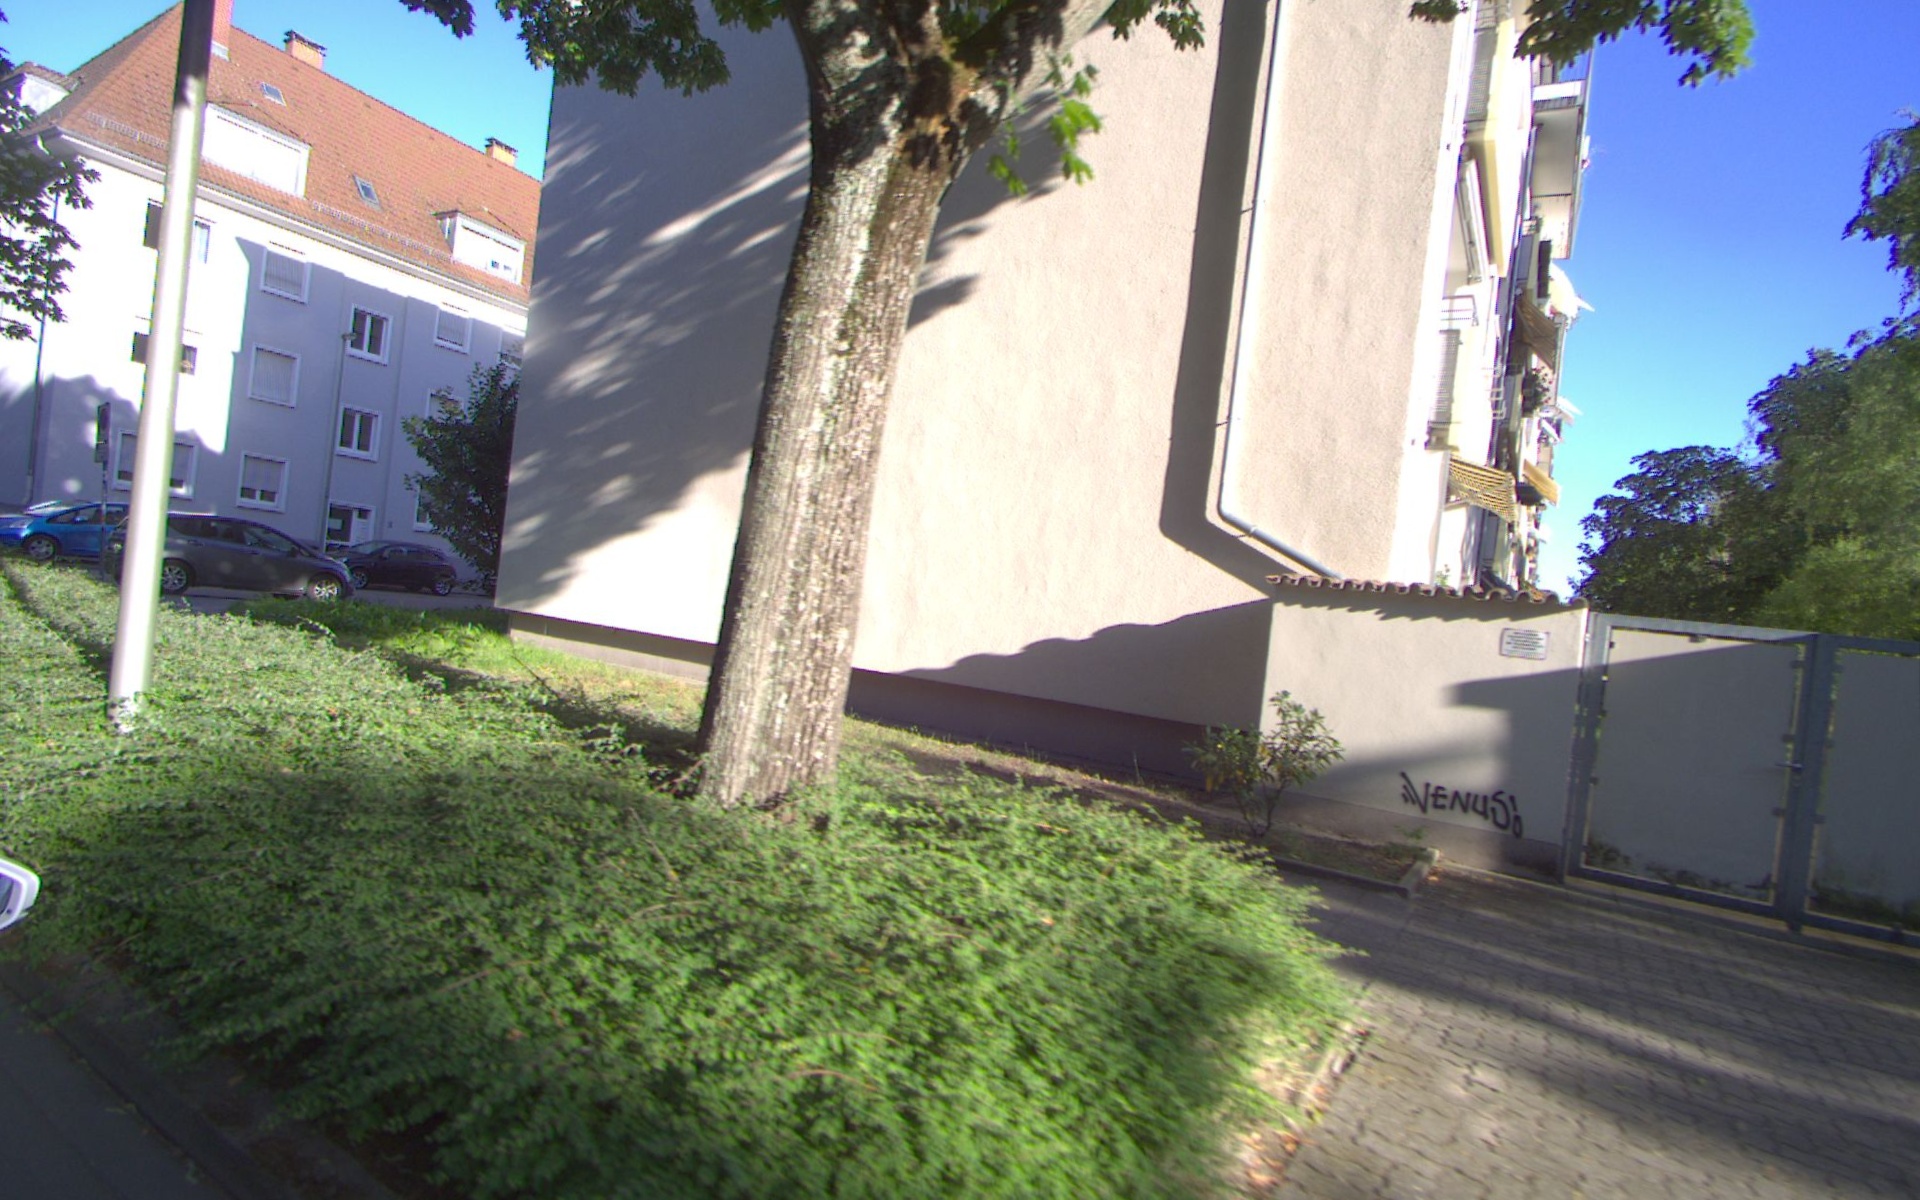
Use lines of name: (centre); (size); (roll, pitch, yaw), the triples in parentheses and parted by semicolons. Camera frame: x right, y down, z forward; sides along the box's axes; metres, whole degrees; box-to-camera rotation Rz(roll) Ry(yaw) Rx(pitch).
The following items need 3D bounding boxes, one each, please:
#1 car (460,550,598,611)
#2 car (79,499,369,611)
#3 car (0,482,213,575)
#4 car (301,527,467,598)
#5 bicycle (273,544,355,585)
car: (-14.668, -0.635, 34.444); (1.704, 1.515, 4.023); (7, -2, 30)
car: (-13.919, -0.789, 19.298); (1.697, 1.532, 4.050); (5, -2, 28)
car: (-20.264, -1.652, 23.538); (1.778, 1.601, 3.996); (8, 0, 27)
car: (-16.859, -1.051, 29.620); (1.620, 1.515, 3.832); (7, -1, 30)
bicycle: (-19.047, -1.030, 29.695); (0.475, 0.936, 1.968); (8, -1, 29)
